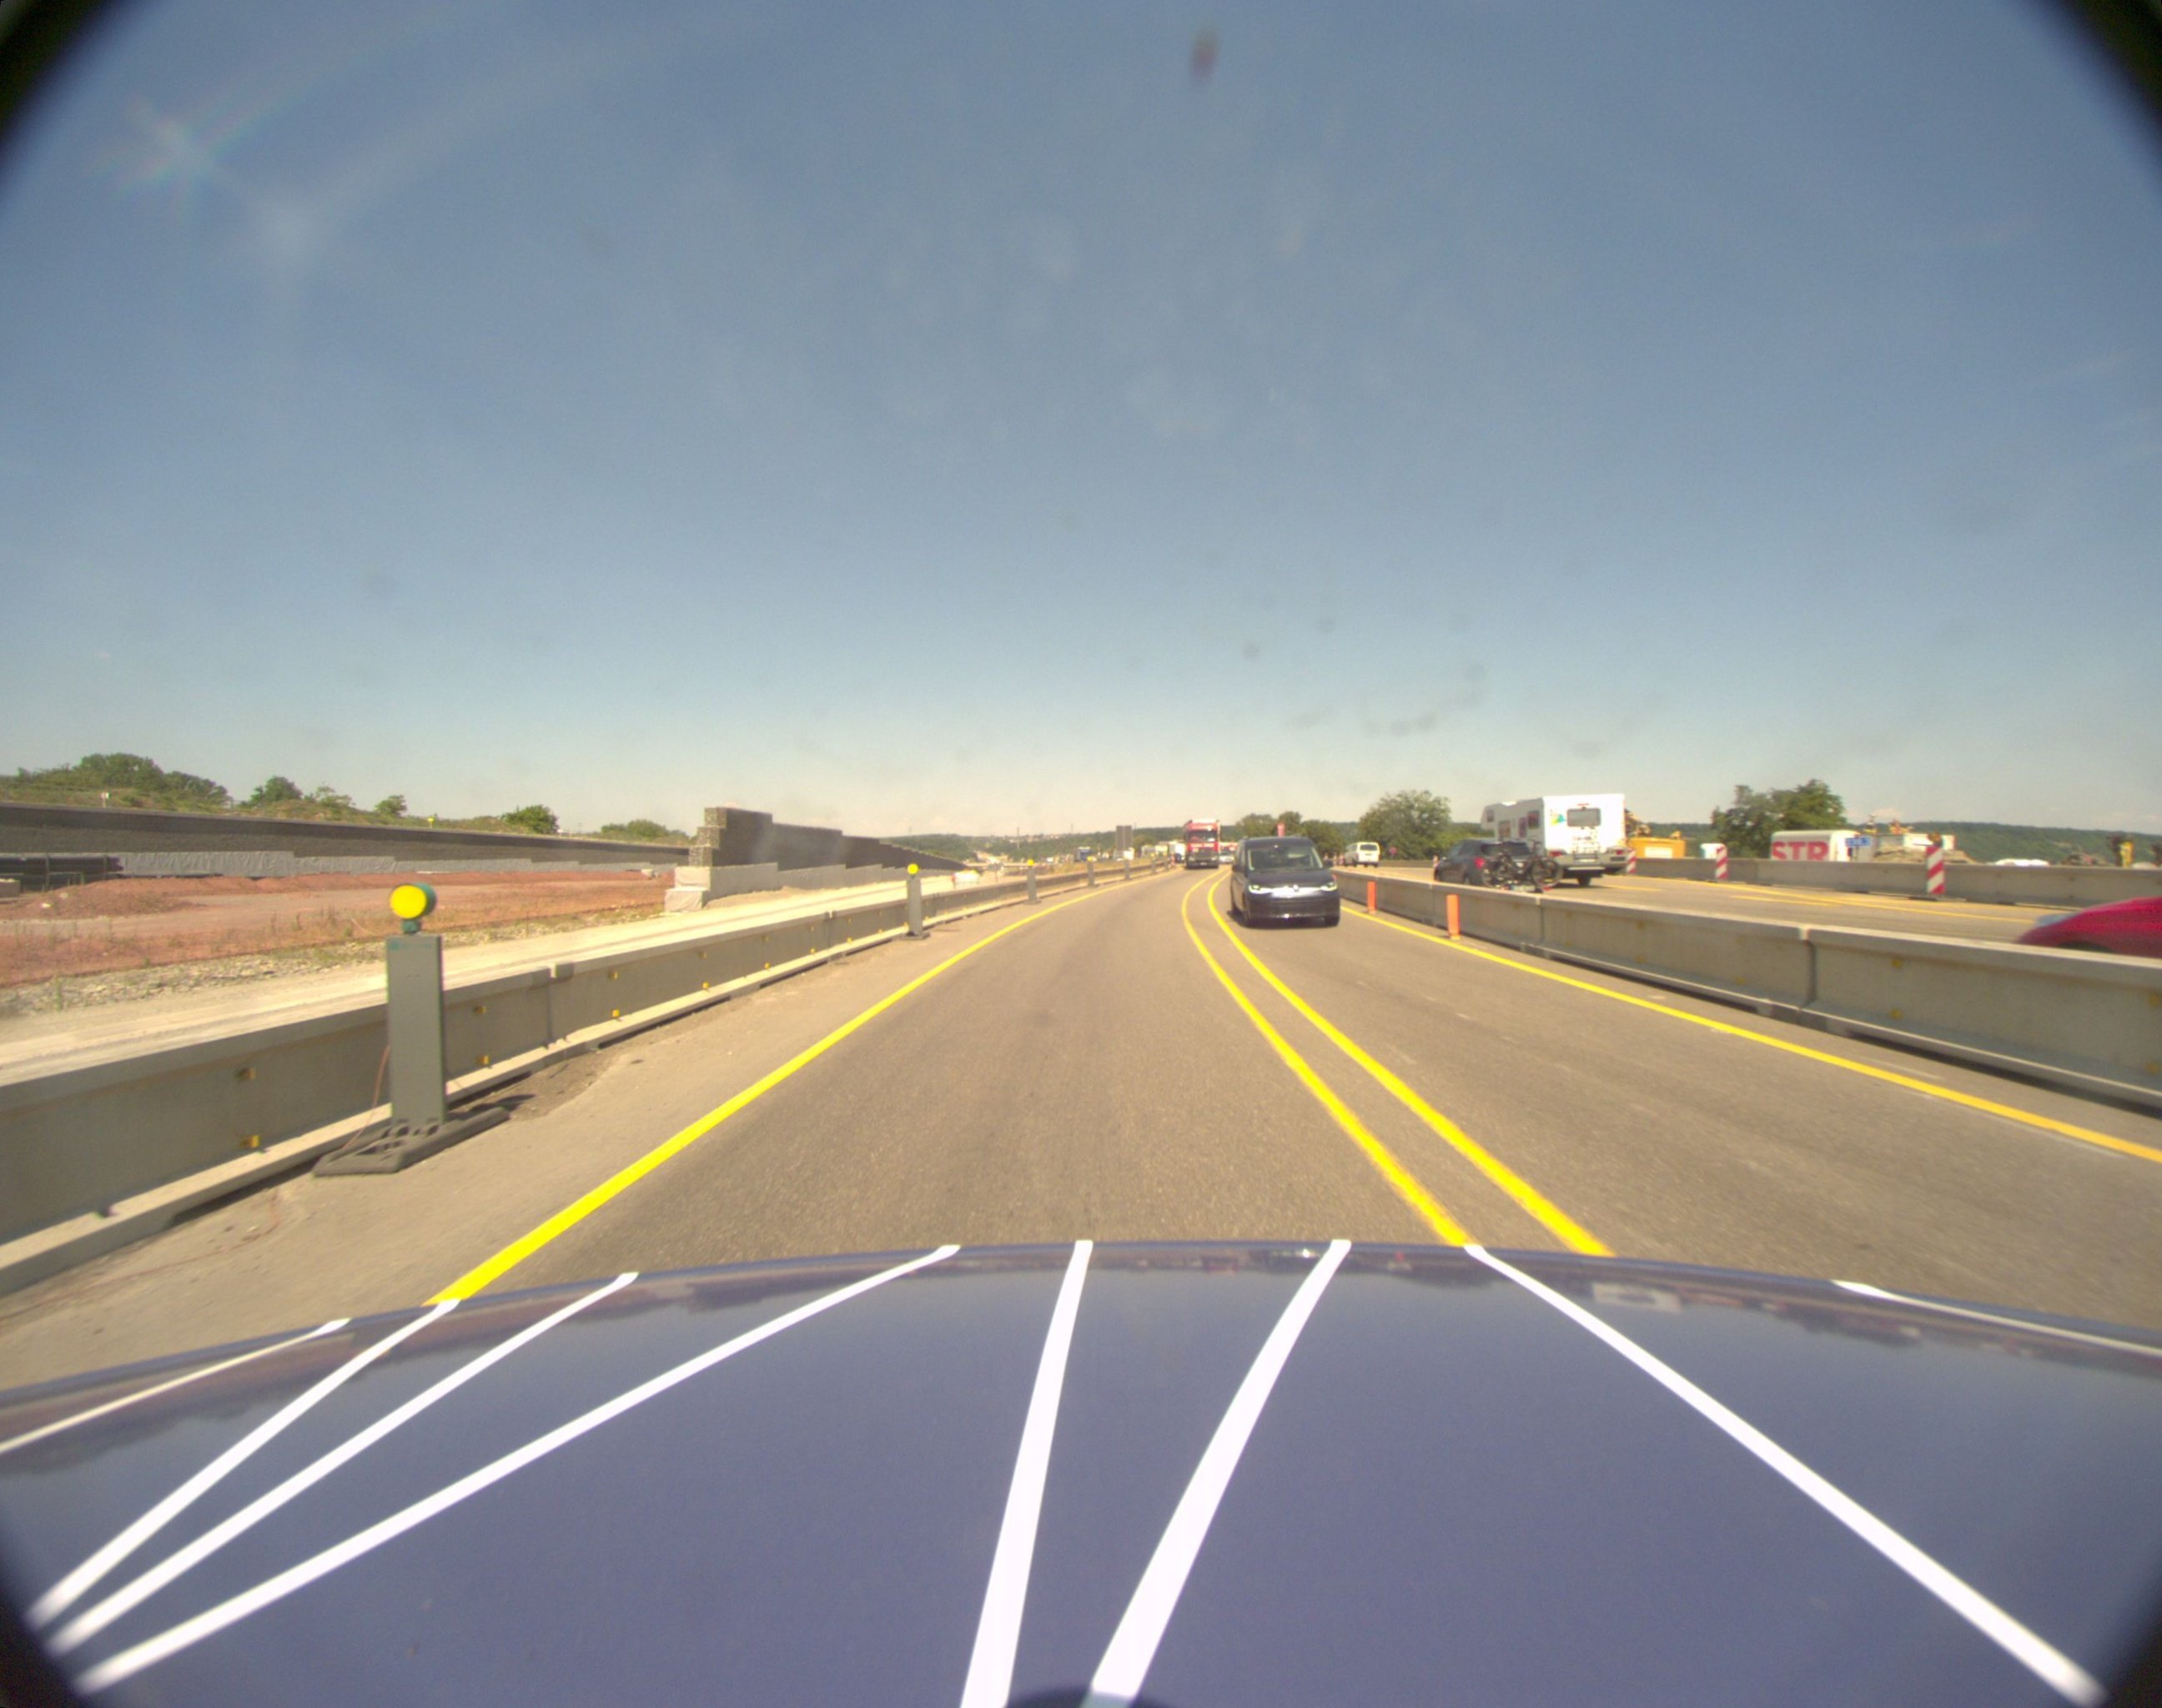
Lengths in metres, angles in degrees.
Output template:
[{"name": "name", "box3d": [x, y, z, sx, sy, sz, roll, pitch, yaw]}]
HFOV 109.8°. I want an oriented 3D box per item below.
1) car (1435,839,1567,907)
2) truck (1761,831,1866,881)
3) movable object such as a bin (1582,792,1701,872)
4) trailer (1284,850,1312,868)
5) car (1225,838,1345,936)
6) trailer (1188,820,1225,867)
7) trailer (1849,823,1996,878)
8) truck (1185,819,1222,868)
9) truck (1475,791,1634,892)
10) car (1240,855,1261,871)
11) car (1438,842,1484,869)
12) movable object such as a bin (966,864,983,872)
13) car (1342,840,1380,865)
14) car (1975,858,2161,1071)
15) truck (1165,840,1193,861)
[{"name": "car", "box3d": [10.975, 0.454, 20.227, 1.663, 1.596, 4.399, 0, 0, 9]}, {"name": "truck", "box3d": [46.365, 0.101, 48.243, 2.348, 3.025, 4.262, 0, 0, -6]}, {"name": "movable object such as a bin", "box3d": [33.310, -1.184, 45.647, 2.927, 4.304, 9.338, 0, 0, 18]}, {"name": "trailer", "box3d": [24.218, 0.571, 85.053, 1.870, 2.010, 4.436, 0, 0, 0]}, {"name": "car", "box3d": [4.205, 0.604, 16.388, 1.924, 1.779, 4.606, -1, 0, 8]}, {"name": "trailer", "box3d": [11.124, -0.871, 68.516, 2.700, 3.852, 12.429, 0, 0, 7]}, {"name": "trailer", "box3d": [47.722, -0.190, 43.178, 5.580, 2.979, 2.882, 0, 0, -6]}, {"name": "truck", "box3d": [10.080, -0.820, 62.195, 2.624, 3.880, 4.938, 0, 0, 13]}, {"name": "truck", "box3d": [16.315, -0.371, 26.821, 2.445, 3.053, 7.254, 0, 0, 12]}, {"name": "car", "box3d": [14.266, 0.743, 64.048, 1.712, 1.254, 4.004, 0, 0, 12]}, {"name": "car", "box3d": [23.788, 0.105, 47.679, 1.722, 1.618, 4.341, 0, 0, 15]}, {"name": "movable object such as a bin", "box3d": [-28.532, 3.817, 204.423, 4.141, 2.135, 1.758, 0, 0, -34]}, {"name": "car", "box3d": [22.909, -0.086, 62.292, 1.869, 1.942, 4.895, 0, 0, 7]}, {"name": "car", "box3d": [8.276, 0.770, 4.433, 1.672, 1.467, 3.972, 0, 0, 5]}, {"name": "truck", "box3d": [15.809, -0.505, 123.060, 2.588, 3.361, 6.921, 0, 0, -10]}]
